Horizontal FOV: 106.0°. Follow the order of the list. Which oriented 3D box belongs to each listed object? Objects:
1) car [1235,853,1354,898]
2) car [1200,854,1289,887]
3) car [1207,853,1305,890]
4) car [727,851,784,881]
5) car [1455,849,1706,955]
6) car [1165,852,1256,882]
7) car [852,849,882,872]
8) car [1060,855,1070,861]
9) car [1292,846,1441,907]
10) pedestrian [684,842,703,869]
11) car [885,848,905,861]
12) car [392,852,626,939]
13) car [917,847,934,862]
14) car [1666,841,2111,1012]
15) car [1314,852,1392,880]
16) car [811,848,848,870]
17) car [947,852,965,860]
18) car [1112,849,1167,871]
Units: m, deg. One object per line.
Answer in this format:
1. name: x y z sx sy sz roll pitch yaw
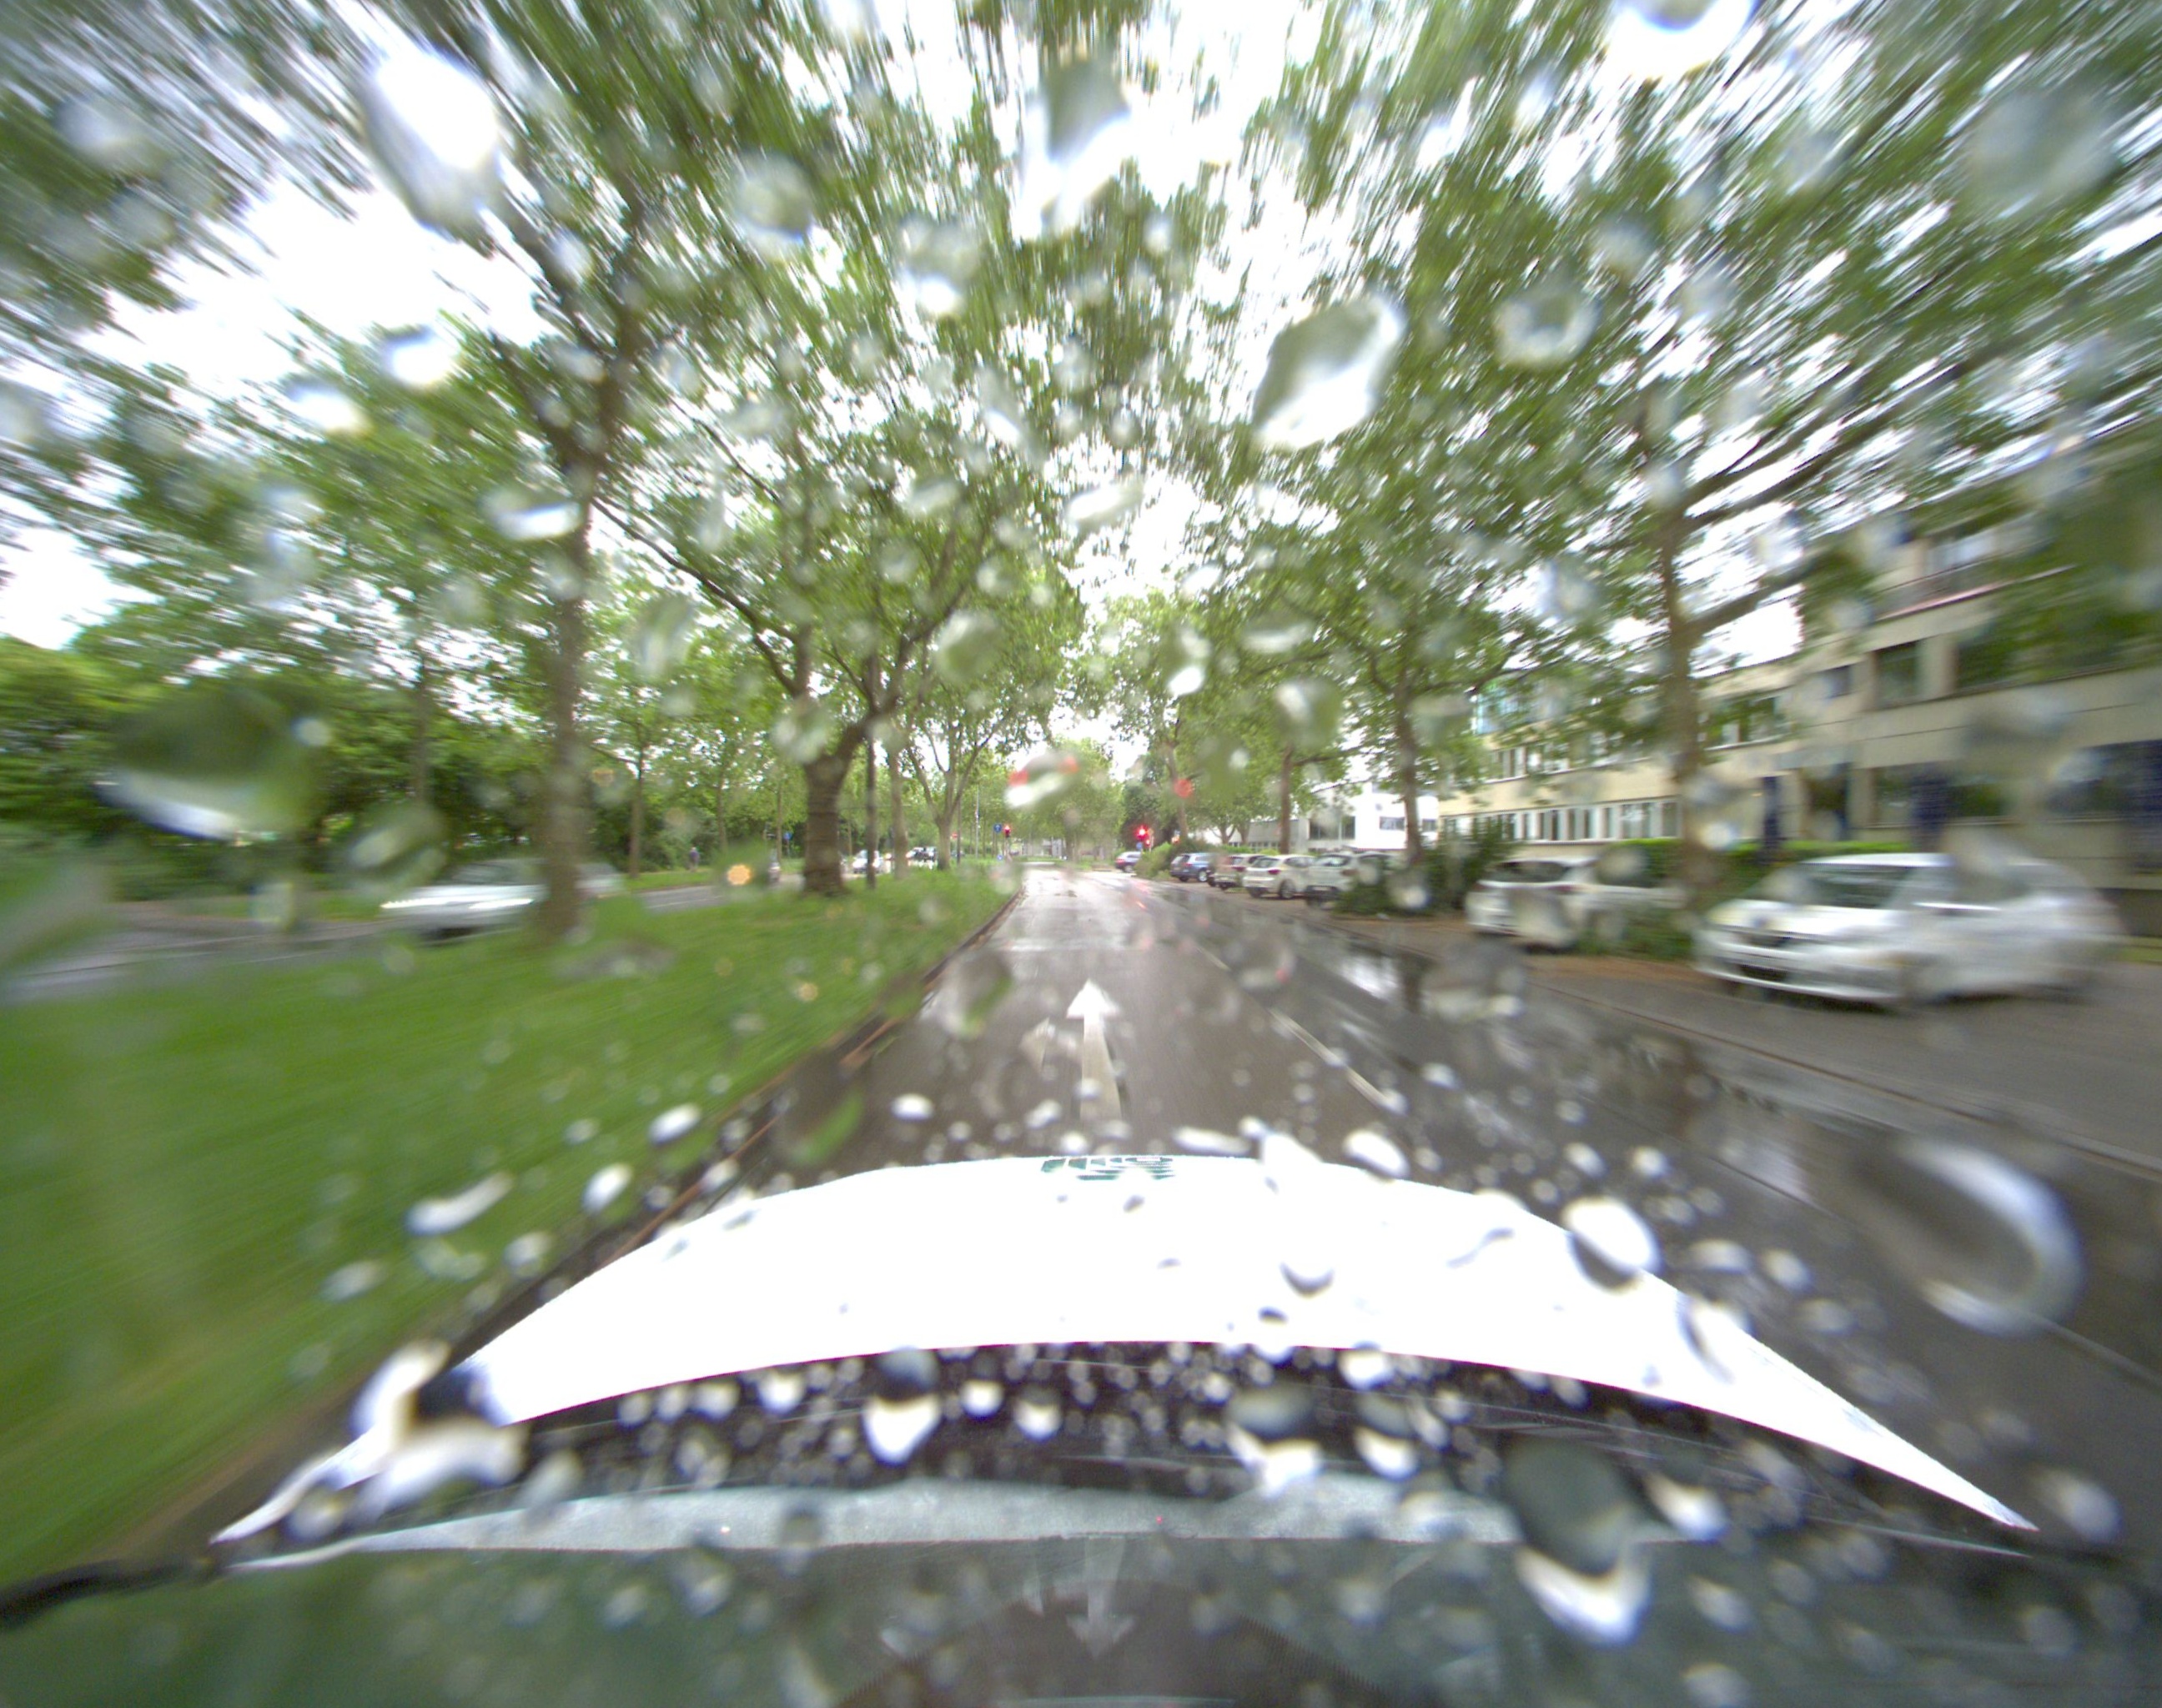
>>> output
1. car: 7.189 0.705 27.379 3.701 1.416 1.733 1 -1 -28
2. car: 7.266 0.723 36.209 3.705 1.416 1.732 1 -1 -32
3. car: 7.084 0.676 32.926 3.705 1.416 1.758 1 -1 -32
4. car: -16.831 0.607 42.304 1.741 1.476 4.073 1 0 -7
5. car: 7.935 0.678 12.856 4.051 1.428 1.732 1 -1 -31
6. car: 6.712 0.666 41.993 4.506 1.459 1.733 1 -1 -28
7. car: -15.322 0.466 58.373 1.744 1.591 4.314 1 0 -10
8. car: -3.703 0.867 188.590 1.577 1.373 4.274 1 0 10
9. car: 7.823 0.588 22.198 4.053 1.539 1.731 1 -1 -33
10. pedestrian: -24.685 0.113 51.861 0.830 1.674 0.897 1 -1 -7
11. car: -22.927 0.071 100.463 1.740 1.476 4.227 1 0 -5
12. car: -10.970 0.729 16.088 1.740 1.476 4.403 1 0 -4
13. car: -19.472 0.081 101.971 1.741 1.842 5.108 1 0 -7
14. car: 8.339 0.625 8.506 3.641 1.504 1.740 0 1 -15
15. car: 17.739 0.754 53.239 4.535 1.757 1.775 1 -1 -9
16. car: -19.201 0.402 62.287 1.740 1.591 4.203 1 0 -4
17. car: -20.130 0.333 131.156 1.578 1.373 4.271 1 0 8
18. car: 4.706 0.490 65.428 4.279 1.650 1.748 1 -1 -1
